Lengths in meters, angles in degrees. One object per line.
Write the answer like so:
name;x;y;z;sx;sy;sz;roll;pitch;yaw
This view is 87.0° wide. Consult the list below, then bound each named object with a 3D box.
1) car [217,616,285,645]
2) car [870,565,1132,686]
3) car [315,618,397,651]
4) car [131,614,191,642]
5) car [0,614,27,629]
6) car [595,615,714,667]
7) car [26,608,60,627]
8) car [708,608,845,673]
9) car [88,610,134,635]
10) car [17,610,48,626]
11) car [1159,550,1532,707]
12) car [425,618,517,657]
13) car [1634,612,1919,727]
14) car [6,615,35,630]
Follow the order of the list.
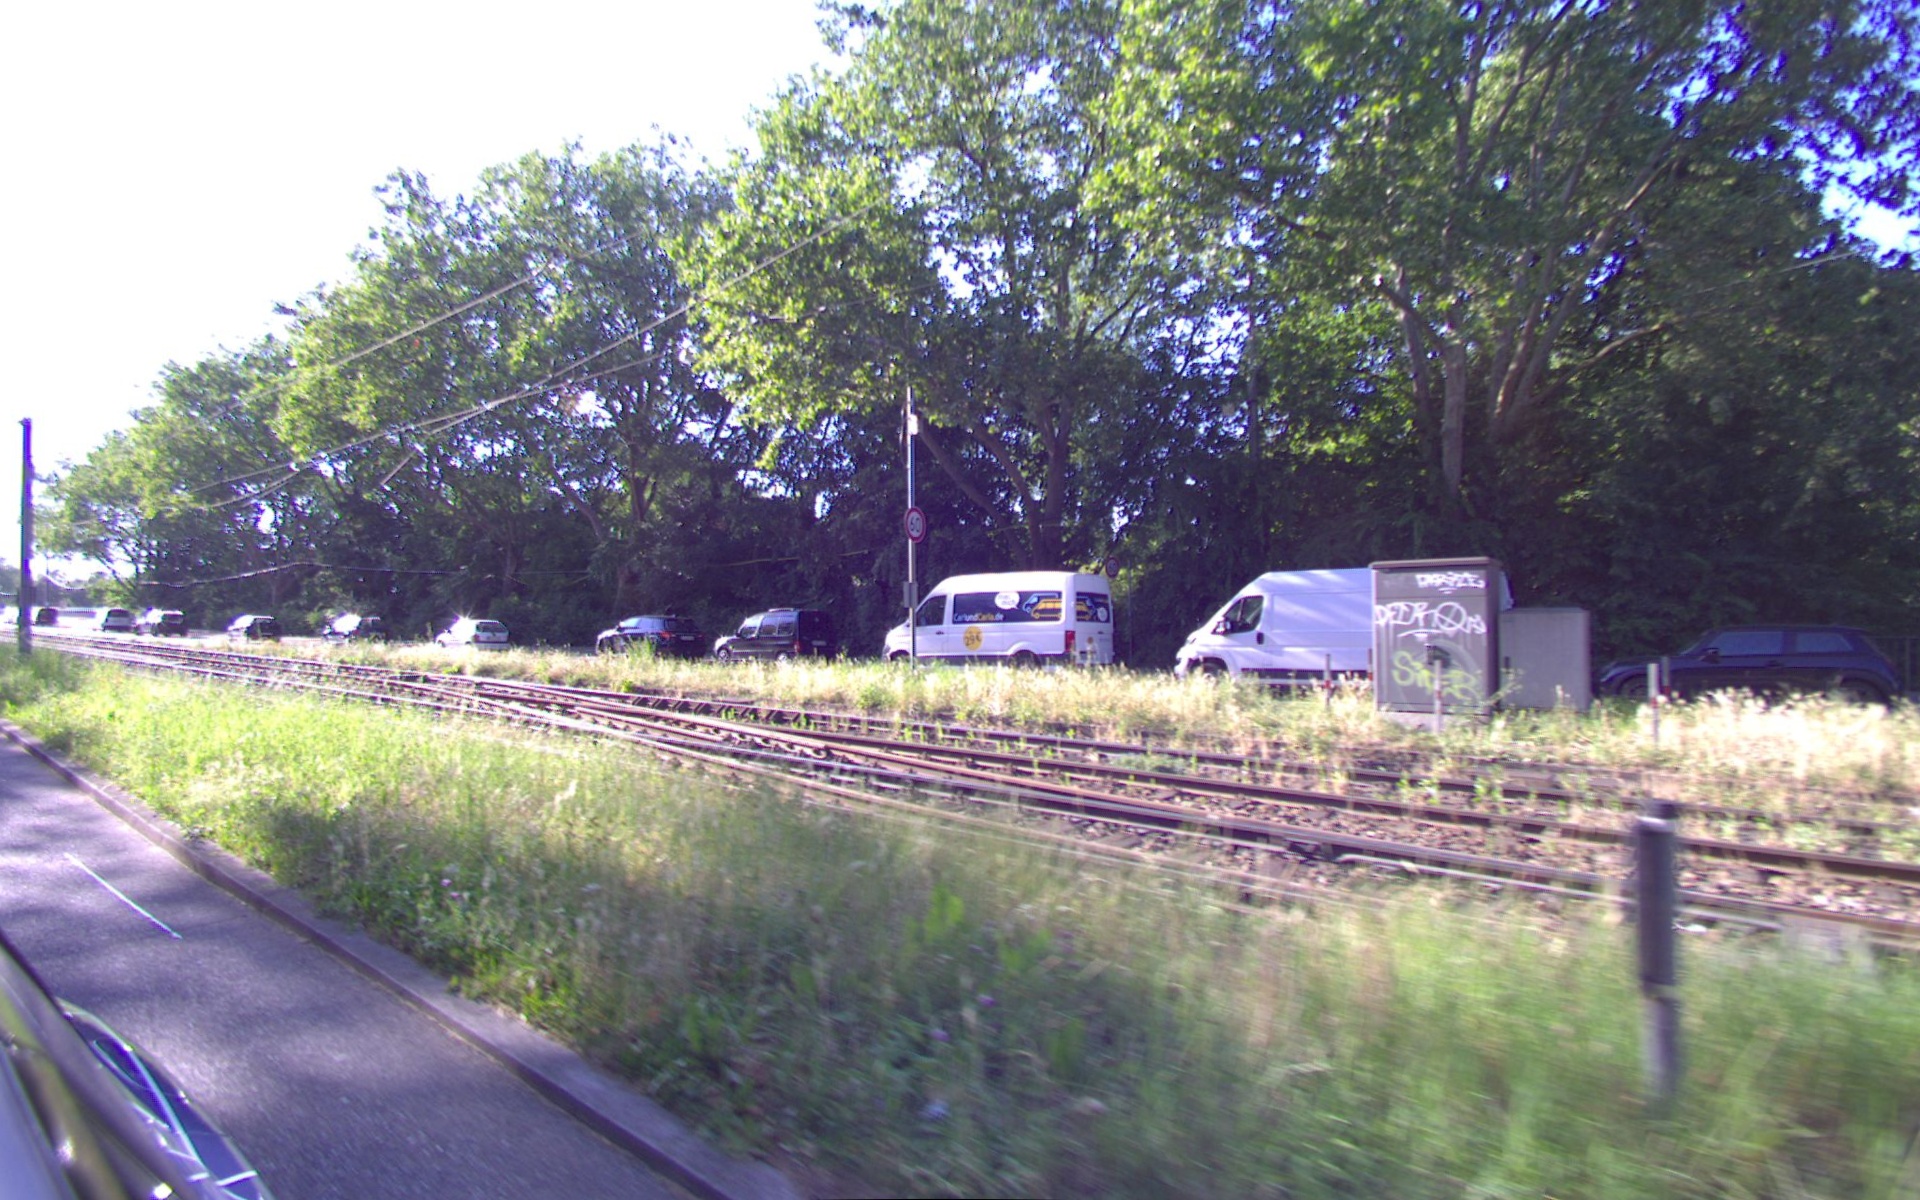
car;-38.672;1.648;55.137;4.389;1.517;1.809;0;-3;38
car;0.847;0.580;23.879;6.042;2.540;2.162;0;-3;38
car;-27.940;1.580;46.760;4.318;1.448;1.809;0;-3;38
car;-52.994;1.870;67.117;4.383;1.732;1.812;0;-2;34
car;-99.352;2.251;106.039;3.920;1.511;1.638;0;-3;38
car;-9.868;1.293;32.615;3.877;1.567;1.722;0;-3;38
car;-86.647;1.650;95.630;3.895;1.753;1.713;0;-3;38
car;-5.303;1.134;29.053;3.877;1.741;1.722;0;-3;38
car;-65.055;1.733;77.550;4.389;1.854;1.809;0;-3;38
car;-90.922;1.731;99.167;3.780;1.453;1.638;0;-3;38
car;7.121;0.507;19.152;6.261;2.540;2.163;0;-3;37
car;-19.469;1.485;40.248;3.847;1.448;1.722;0;-3;38
car;12.123;0.983;15.194;3.260;1.524;1.636;0;-3;37
car;-95.218;2.284;102.572;3.781;1.453;1.638;0;-3;39
